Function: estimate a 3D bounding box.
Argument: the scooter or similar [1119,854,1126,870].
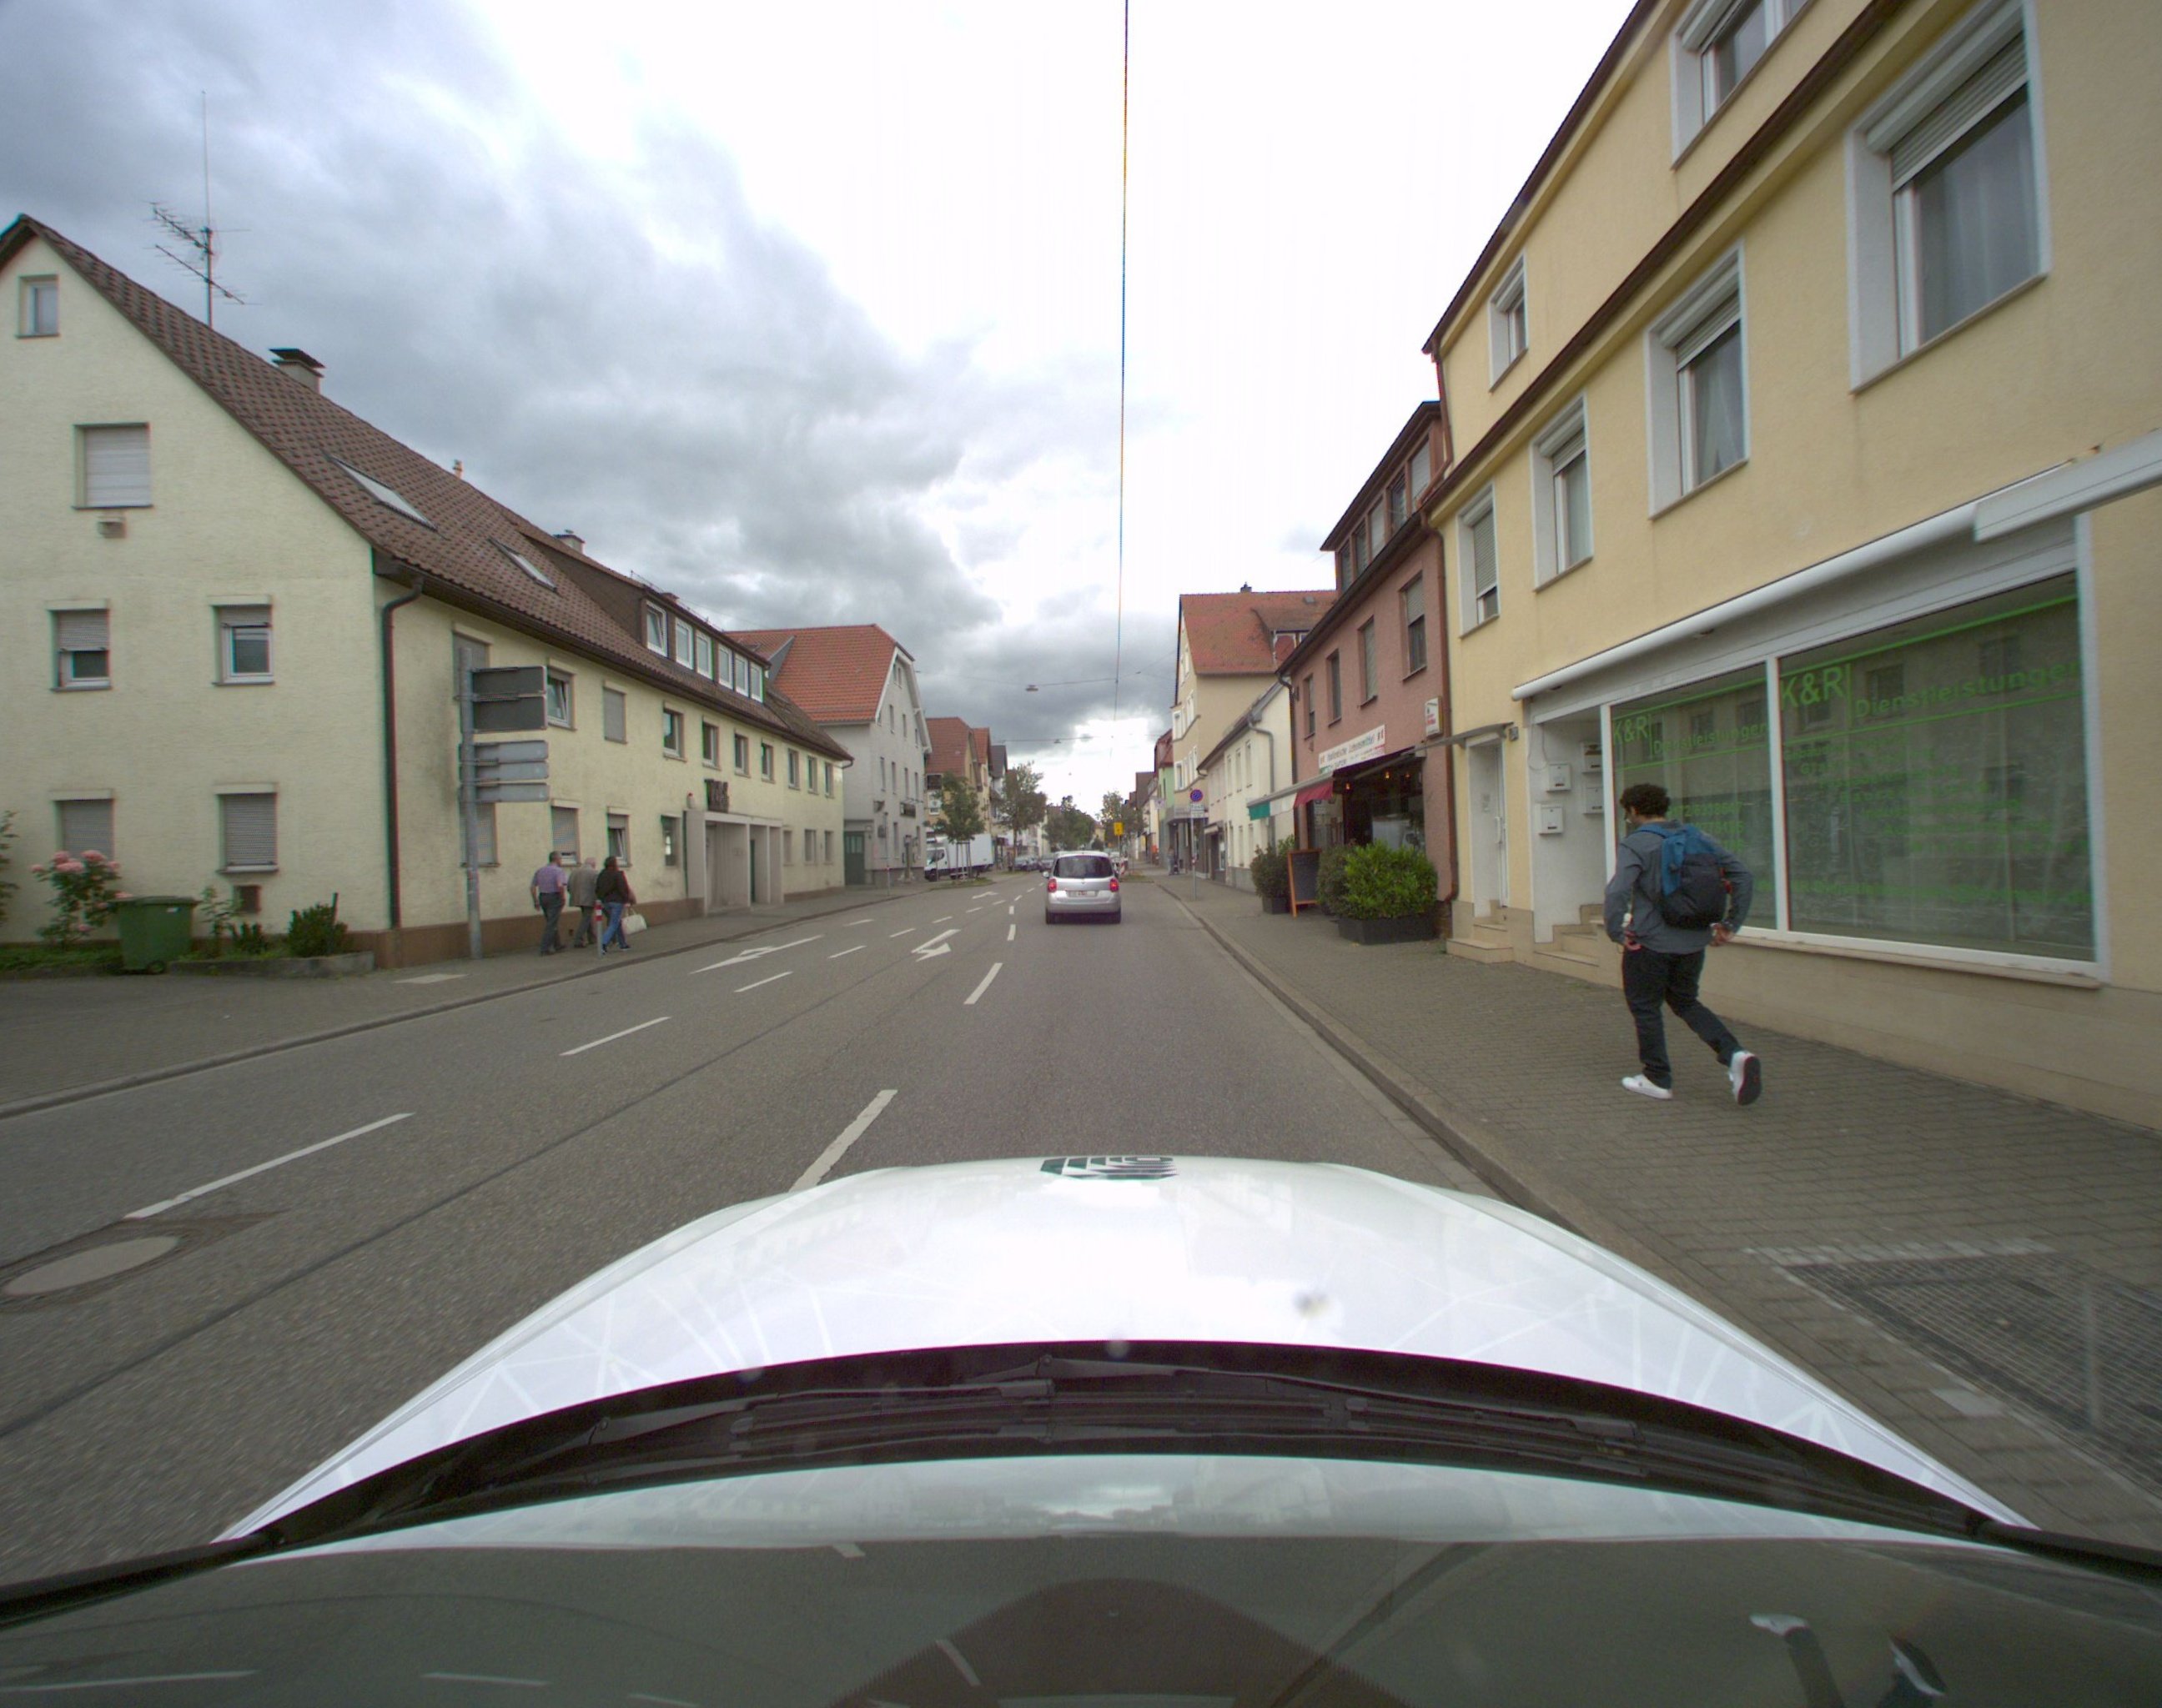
[{"bbox_3d":[3.203,0.604,62.754,0.500,1.235,1.943,-1,0,1],"label":"scooter or similar"}]

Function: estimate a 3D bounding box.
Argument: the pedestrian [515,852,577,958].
[{"bbox_3d":[-9.090,0.852,13.852,0.551,1.737,0.648,-2,0,1],"label":"pedestrian"}]

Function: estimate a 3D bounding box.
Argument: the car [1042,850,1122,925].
[{"bbox_3d":[0.110,0.694,19.126,1.676,1.566,3.996,-1,0,2],"label":"car"}]

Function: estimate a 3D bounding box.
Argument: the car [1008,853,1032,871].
[{"bbox_3d":[-5.431,0.685,72.424,1.676,1.424,3.932,-3,0,1],"label":"car"}]

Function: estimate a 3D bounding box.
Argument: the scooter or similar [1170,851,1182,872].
[{"bbox_3d":[5.536,0.442,47.377,0.587,1.232,0.891,-1,0,1],"label":"scooter or similar"}]

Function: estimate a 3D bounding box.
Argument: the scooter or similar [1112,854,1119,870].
[{"bbox_3d":[2.671,0.617,62.754,0.500,1.235,1.943,-1,0,1],"label":"scooter or similar"}]

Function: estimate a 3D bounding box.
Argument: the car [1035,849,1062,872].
[{"bbox_3d":[-2.765,0.534,70.057,1.986,1.796,4.278,-3,0,1],"label":"car"}]

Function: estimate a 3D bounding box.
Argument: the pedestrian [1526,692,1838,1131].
[{"bbox_3d":[3.196,0.282,4.468,0.820,2.074,1.012,-5,-1,4],"label":"pedestrian"}]

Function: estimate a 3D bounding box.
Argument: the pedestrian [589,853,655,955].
[{"bbox_3d":[-8.075,0.861,14.360,0.675,1.737,0.717,-2,0,1],"label":"pedestrian"}]

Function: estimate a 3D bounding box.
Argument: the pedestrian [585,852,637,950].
[{"bbox_3d":[-8.653,0.845,15.007,0.494,1.737,0.648,-2,0,1],"label":"pedestrian"}]

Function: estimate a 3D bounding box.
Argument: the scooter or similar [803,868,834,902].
[{"bbox_3d":[-9.622,1.122,29.896,0.526,1.170,1.722,-1,0,1],"label":"scooter or similar"}]

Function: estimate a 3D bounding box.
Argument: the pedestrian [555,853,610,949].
[{"bbox_3d":[-9.249,0.854,15.130,0.551,1.737,0.648,-2,0,1],"label":"pedestrian"}]

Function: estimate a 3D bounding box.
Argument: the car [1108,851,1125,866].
[{"bbox_3d":[3.730,0.443,85.599,1.824,1.445,4.334,-1,0,2],"label":"car"}]

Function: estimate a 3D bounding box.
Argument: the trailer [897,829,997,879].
[{"bbox_3d":[-9.111,-0.005,56.187,2.479,3.219,7.181,-1,0,35],"label":"trailer"}]

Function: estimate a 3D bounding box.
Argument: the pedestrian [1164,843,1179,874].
[{"bbox_3d":[5.140,0.263,46.437,0.747,1.720,0.900,-1,0,1],"label":"pedestrian"}]
